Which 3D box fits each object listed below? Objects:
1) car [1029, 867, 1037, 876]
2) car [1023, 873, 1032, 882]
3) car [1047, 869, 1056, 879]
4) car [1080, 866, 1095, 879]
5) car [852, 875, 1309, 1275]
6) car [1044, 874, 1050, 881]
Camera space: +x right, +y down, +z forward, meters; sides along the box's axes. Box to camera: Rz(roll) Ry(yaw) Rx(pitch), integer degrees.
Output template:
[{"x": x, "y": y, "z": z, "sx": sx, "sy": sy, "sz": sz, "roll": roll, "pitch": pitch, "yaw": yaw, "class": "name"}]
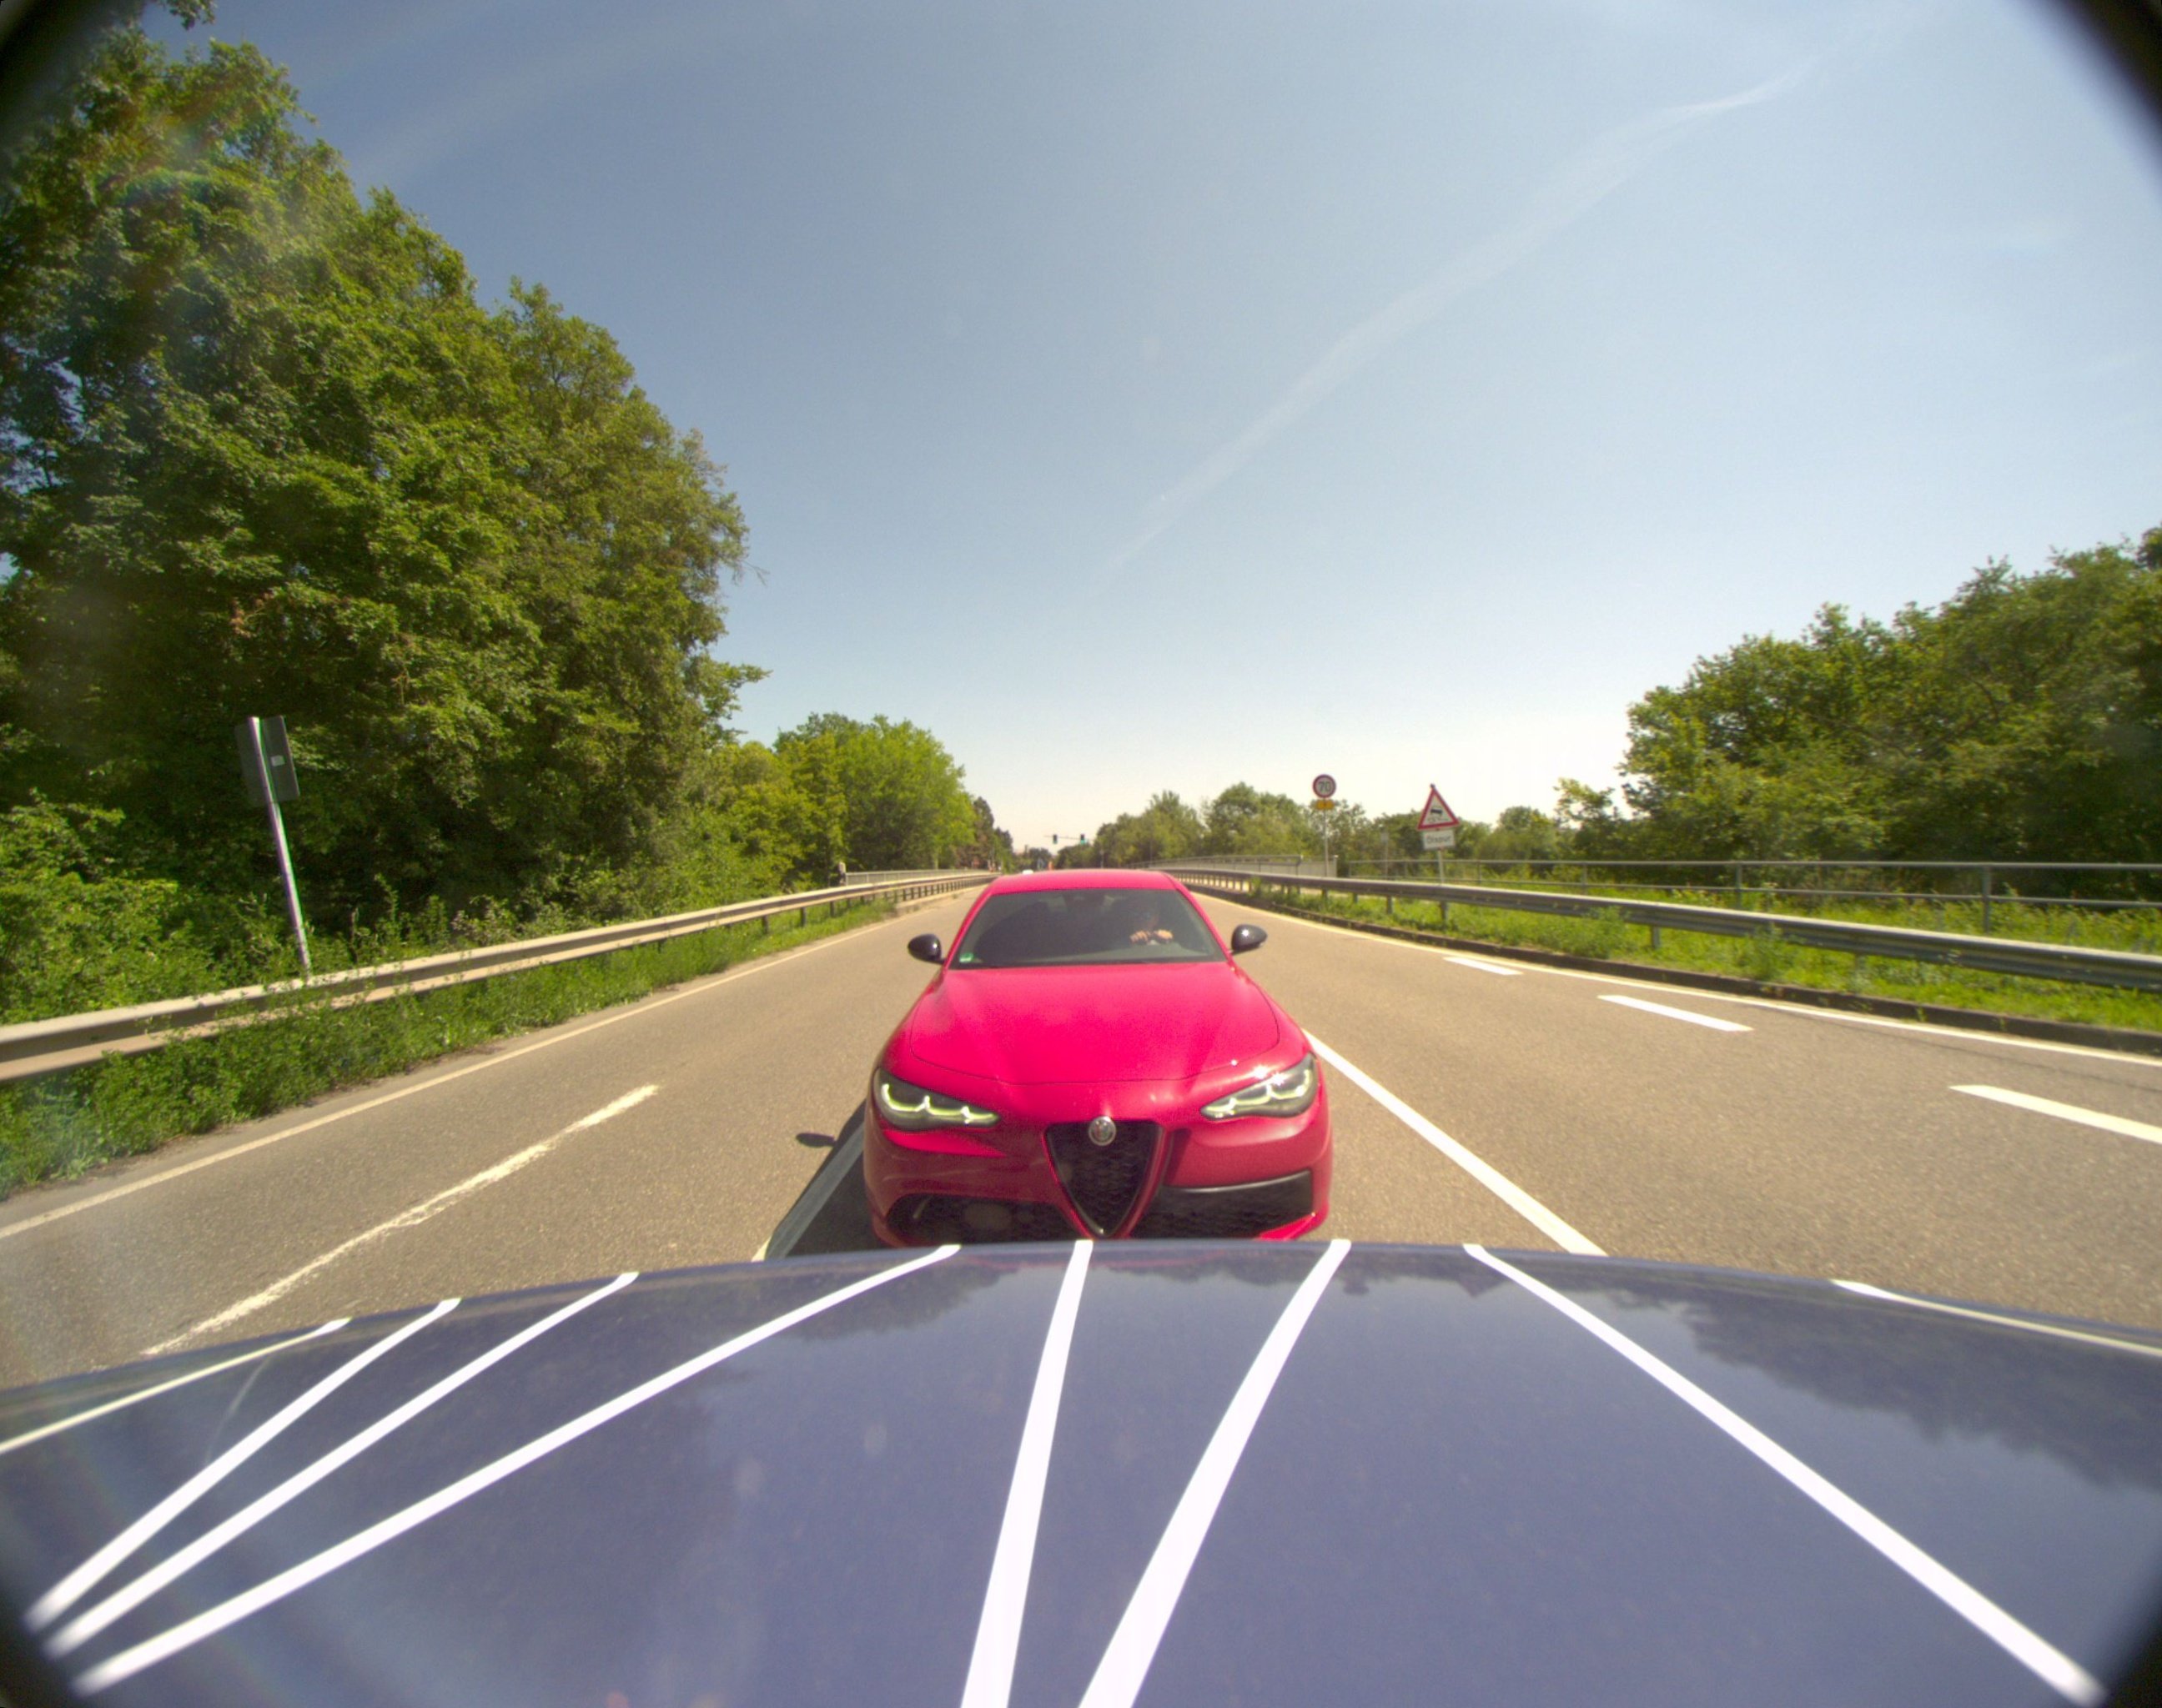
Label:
[{"x": -8.863, "y": 3.234, "z": 140.547, "sx": 1.476, "sy": 1.565, "sz": 3.487, "roll": -1, "pitch": 0, "yaw": -4, "class": "car"}, {"x": -9.325, "y": 4.138, "z": 133.045, "sx": 1.416, "sy": 1.499, "sz": 3.315, "roll": -1, "pitch": 0, "yaw": -3, "class": "car"}, {"x": -7.247, "y": 4.797, "z": 185.388, "sx": 1.996, "sy": 2.354, "sz": 5.180, "roll": -2, "pitch": 0, "yaw": -3, "class": "car"}, {"x": 0.751, "y": 2.159, "z": 91.333, "sx": 1.649, "sy": 1.410, "sz": 3.765, "roll": -2, "pitch": 0, "yaw": -1, "class": "car"}, {"x": -0.041, "y": 0.939, "z": 5.182, "sx": 1.801, "sy": 1.448, "sz": 4.284, "roll": -1, "pitch": 0, "yaw": -1, "class": "car"}, {"x": -9.912, "y": 6.771, "z": 221.675, "sx": 1.848, "sy": 1.758, "sz": 3.999, "roll": -1, "pitch": 0, "yaw": -1, "class": "car"}]
